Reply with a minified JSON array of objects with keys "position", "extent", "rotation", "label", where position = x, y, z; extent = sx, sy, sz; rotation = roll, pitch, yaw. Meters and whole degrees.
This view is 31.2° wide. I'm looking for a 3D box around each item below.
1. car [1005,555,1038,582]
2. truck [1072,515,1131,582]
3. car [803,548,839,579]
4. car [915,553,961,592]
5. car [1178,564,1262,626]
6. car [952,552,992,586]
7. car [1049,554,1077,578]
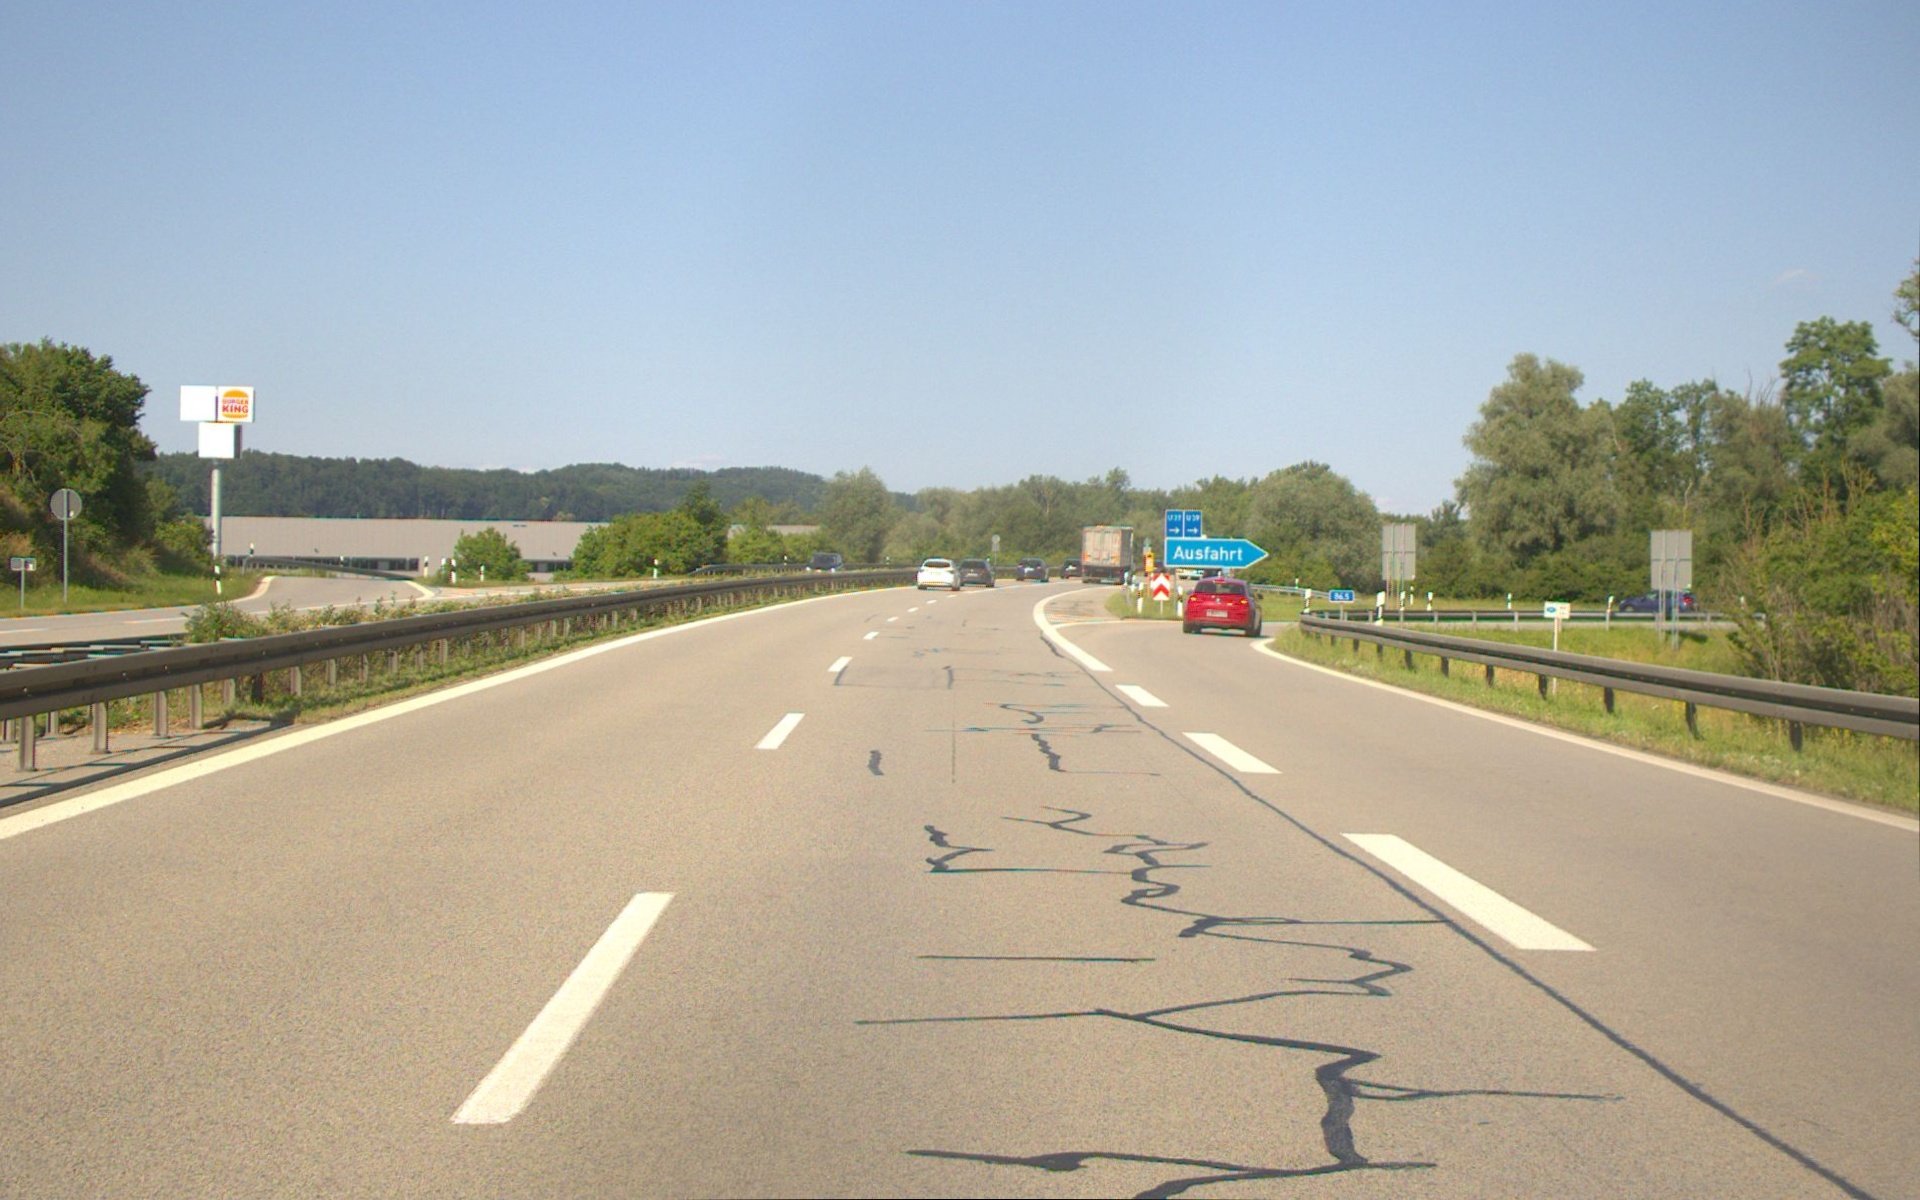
[{"position":[3.936,-2.033,221.092],"extent":[1.993,1.744,4.000],"rotation":[1,1,0],"label":"car"},{"position":[9.542,-3.474,232.180],"extent":[3.838,4.382,11.470],"rotation":[0,1,2],"label":"truck"},{"position":[-7.959,-2.075,197.391],"extent":[1.879,1.619,4.000],"rotation":[0,-2,0],"label":"car"},{"position":[-0.993,-1.257,156.451],"extent":[2.062,1.619,4.000],"rotation":[0,-2,0],"label":"car"},{"position":[6.573,-0.108,86.658],"extent":[1.784,1.426,3.999],"rotation":[4,0,8],"label":"car"},{"position":[0.627,-1.618,178.638],"extent":[1.993,1.744,4.000],"rotation":[1,1,0],"label":"car"},{"position":[7.522,-2.495,250.780],"extent":[1.994,1.744,4.000],"rotation":[1,1,2],"label":"car"}]
